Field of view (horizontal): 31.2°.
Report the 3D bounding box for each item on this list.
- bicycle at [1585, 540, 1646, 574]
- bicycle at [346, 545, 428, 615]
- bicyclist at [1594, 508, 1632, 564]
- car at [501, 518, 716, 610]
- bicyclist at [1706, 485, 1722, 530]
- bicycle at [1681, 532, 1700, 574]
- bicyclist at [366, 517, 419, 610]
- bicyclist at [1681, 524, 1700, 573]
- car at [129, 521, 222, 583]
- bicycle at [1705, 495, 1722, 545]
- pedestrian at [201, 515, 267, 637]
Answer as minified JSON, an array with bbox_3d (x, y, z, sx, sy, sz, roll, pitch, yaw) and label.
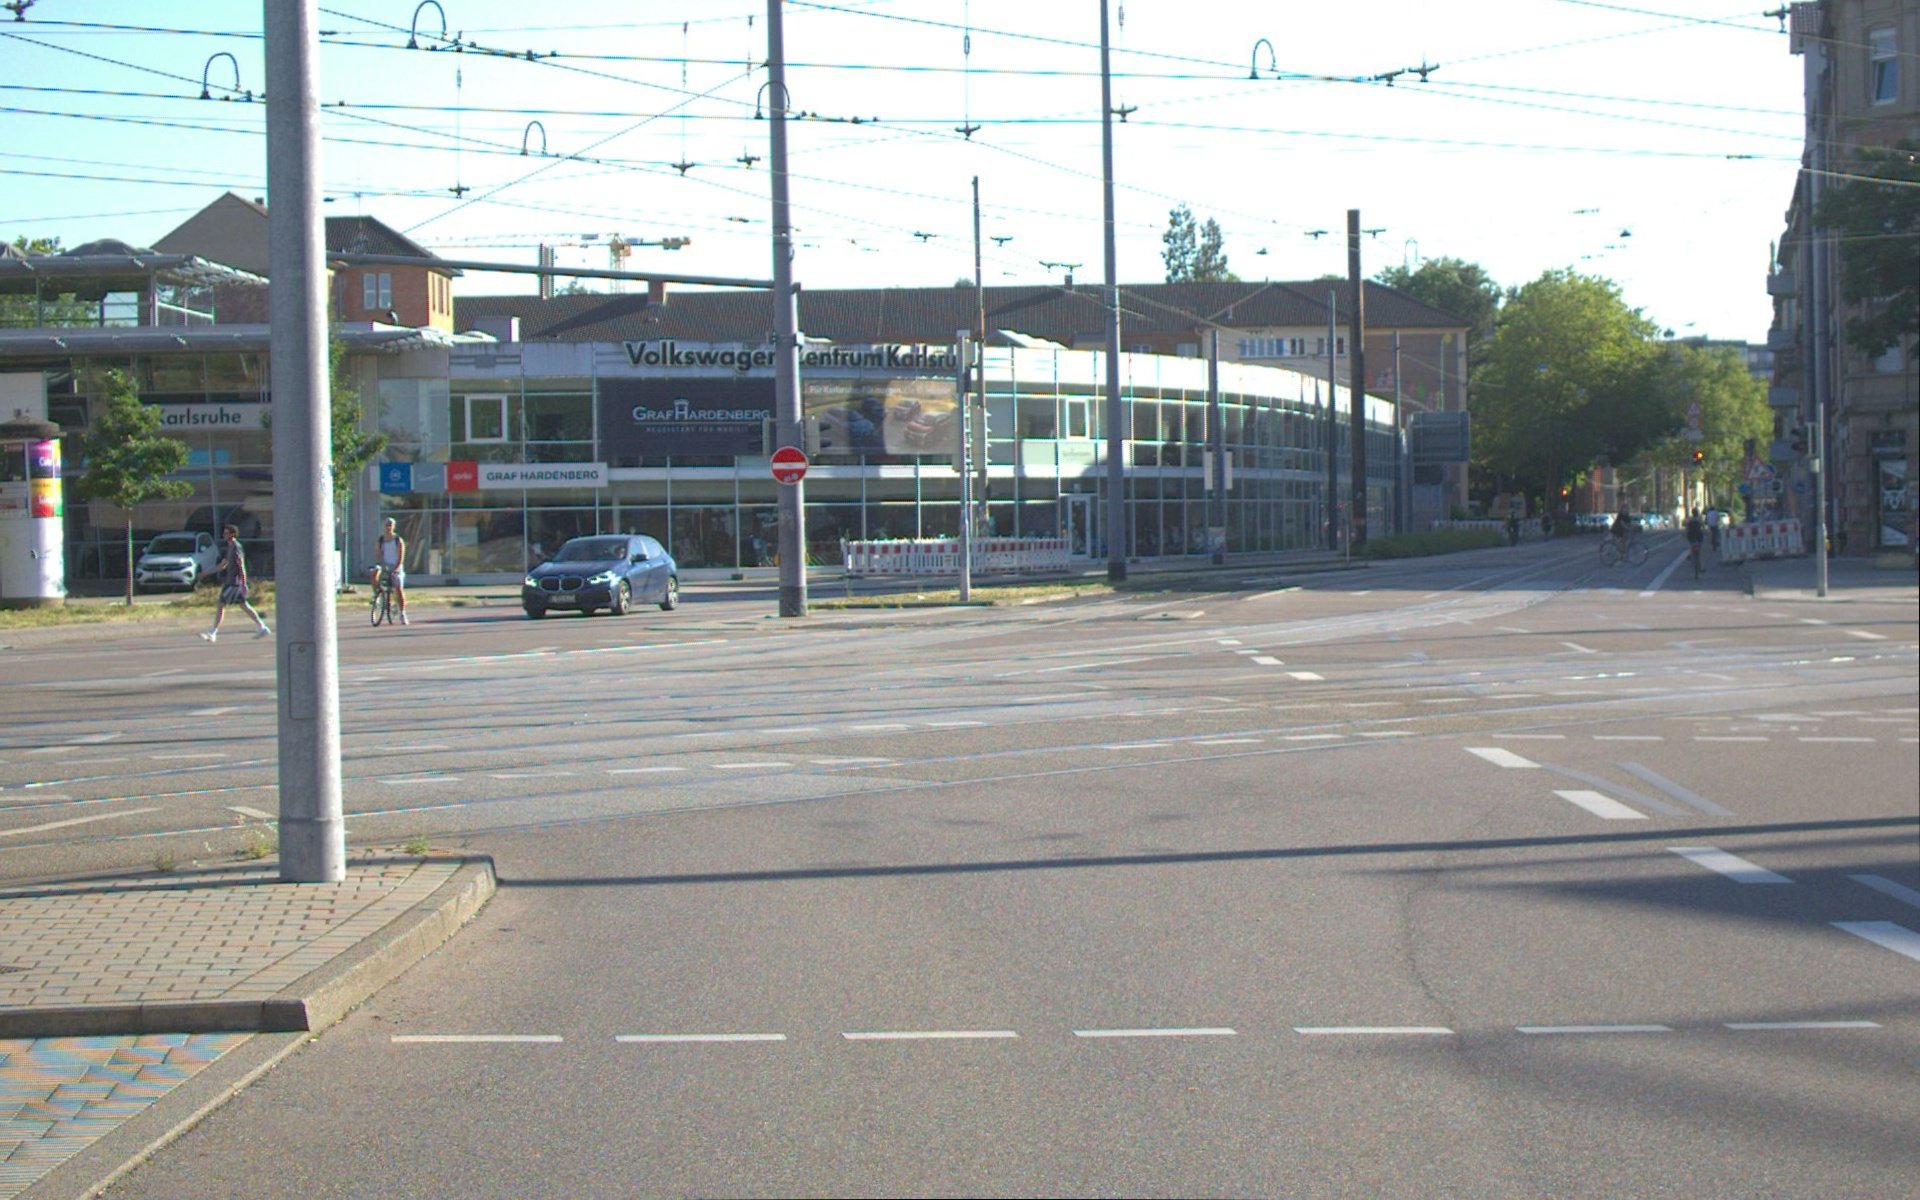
[{"bbox_3d":[18.888,-1.250,99.072,1.598,0.949,0.658,1,1,41],"label":"bicycle"},{"bbox_3d":[-9.927,-0.352,59.645,0.613,1.185,1.867,1,1,17],"label":"bicycle"},{"bbox_3d":[18.812,-1.843,99.081,0.761,1.571,0.772,1,1,43],"label":"bicyclist"},{"bbox_3d":[-6.270,-0.635,61.738,1.996,1.579,3.994,1,1,27],"label":"car"},{"bbox_3d":[30.654,-3.764,139.694,0.599,1.803,0.827,1,0,13],"label":"bicyclist"},{"bbox_3d":[16.613,-1.066,78.139,0.410,0.938,1.844,1,1,12],"label":"bicycle"},{"bbox_3d":[-9.870,-0.637,59.827,0.598,1.610,0.822,1,0,17],"label":"bicyclist"},{"bbox_3d":[16.580,-1.167,78.008,0.408,1.112,0.399,1,0,11],"label":"bicyclist"},{"bbox_3d":[-22.626,-1.378,99.244,1.993,1.744,4.001,1,1,-4],"label":"car"},{"bbox_3d":[30.661,-3.248,139.933,0.618,2.007,2.398,1,0,13],"label":"bicycle"},{"bbox_3d":[-11.374,-0.381,53.895,0.795,1.880,0.758,1,0,7],"label":"pedestrian"}]
